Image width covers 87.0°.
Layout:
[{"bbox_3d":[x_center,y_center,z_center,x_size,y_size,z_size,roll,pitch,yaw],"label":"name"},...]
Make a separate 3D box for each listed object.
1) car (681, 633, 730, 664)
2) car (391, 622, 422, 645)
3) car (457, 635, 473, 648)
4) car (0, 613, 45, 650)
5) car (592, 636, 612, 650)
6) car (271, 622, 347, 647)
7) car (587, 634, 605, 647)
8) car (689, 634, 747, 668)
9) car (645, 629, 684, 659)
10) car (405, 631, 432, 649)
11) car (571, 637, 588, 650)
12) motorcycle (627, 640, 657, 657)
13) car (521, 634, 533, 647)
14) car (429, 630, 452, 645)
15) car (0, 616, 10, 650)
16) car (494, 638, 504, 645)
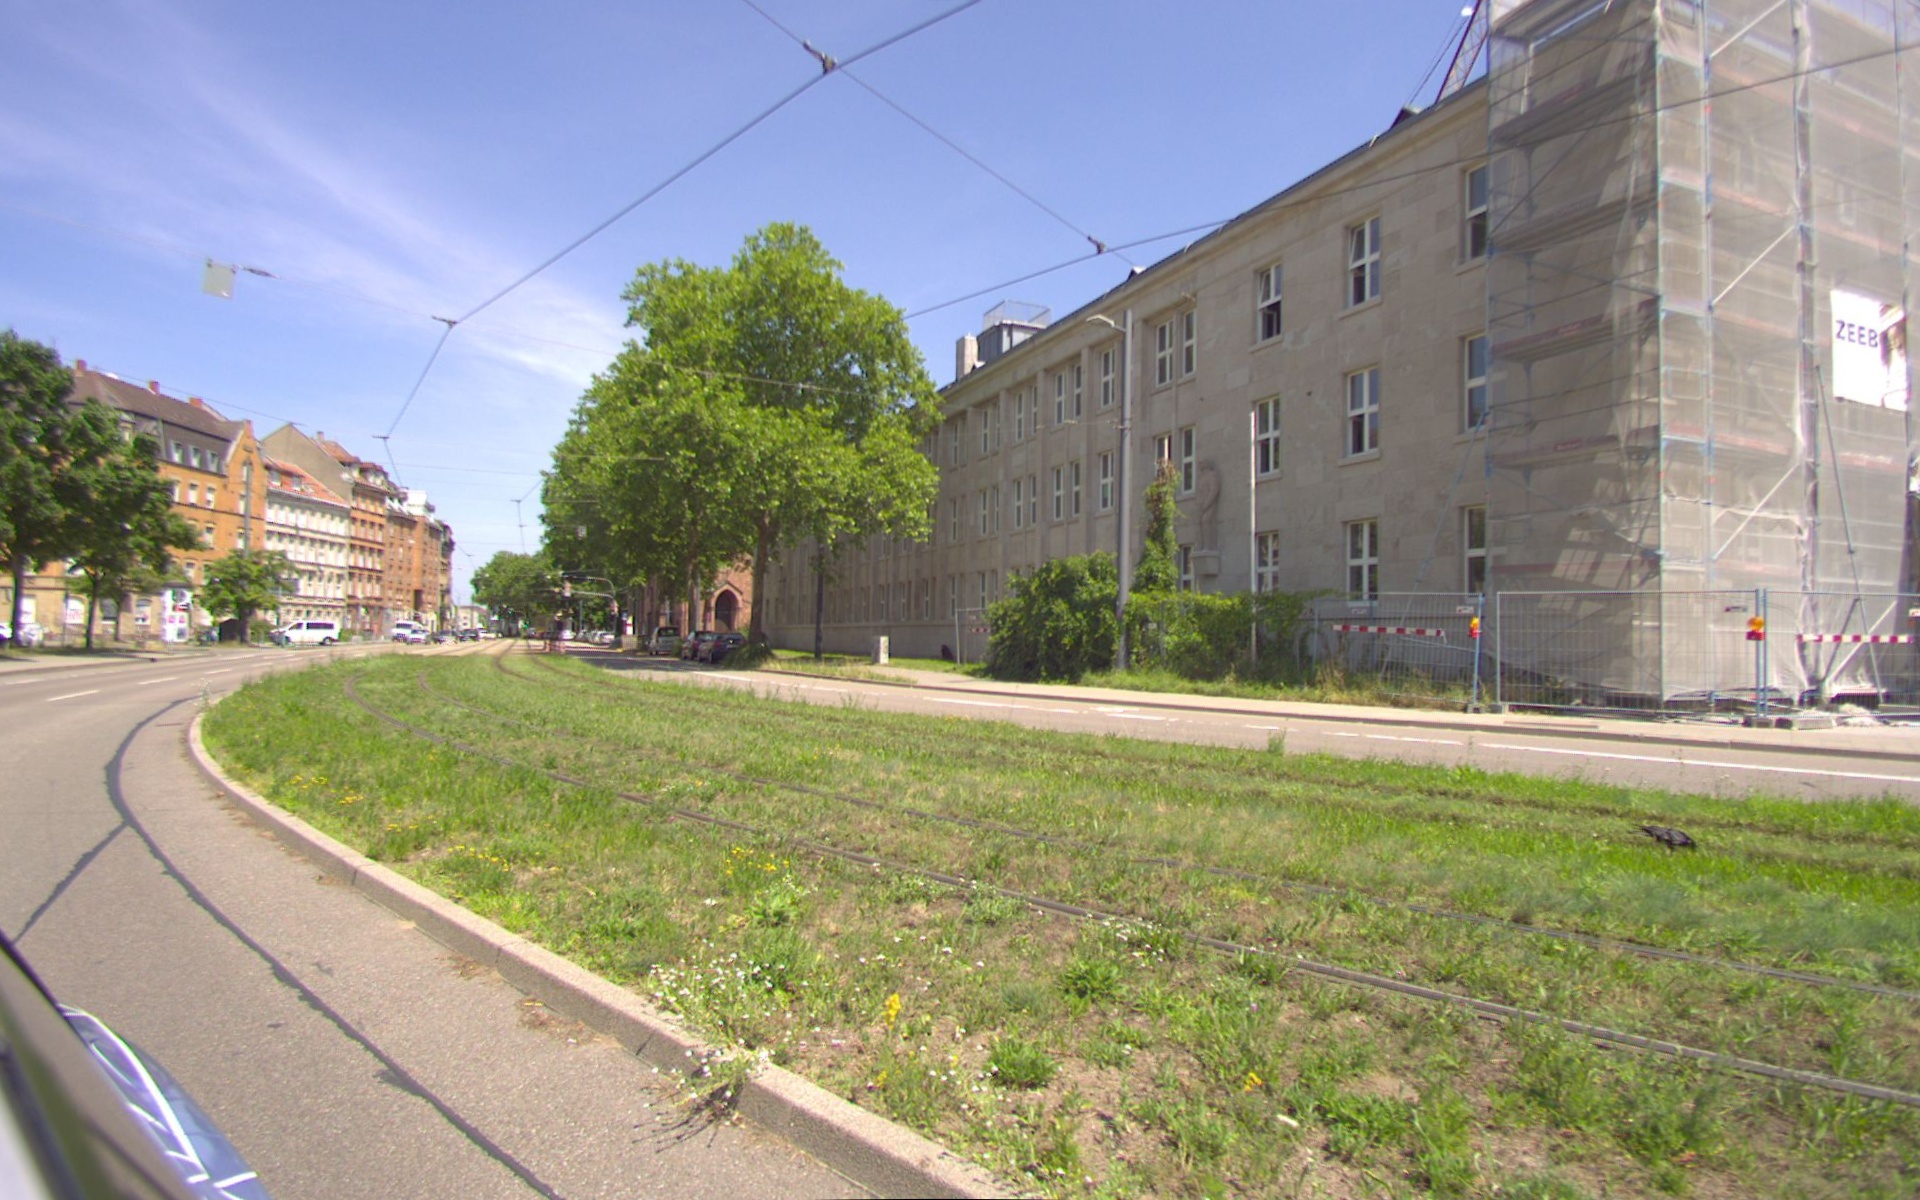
[{"bbox_3d":[-12.920,2.422,51.161,1.738,1.494,4.337,1,-2,-23],"label":"car"},{"bbox_3d":[-61.544,3.755,112.612,1.966,2.348,5.424,4,-3,-19],"label":"car"},{"bbox_3d":[-62.130,5.249,127.108,1.770,1.586,4.013,1,-2,-25],"label":"car"},{"bbox_3d":[-43.632,1.389,44.904,2.001,1.644,4.348,-2,-3,44],"label":"car"},{"bbox_3d":[-38.365,4.617,108.403,1.635,1.470,4.234,1,-2,-24],"label":"car"},{"bbox_3d":[-52.545,2.754,81.742,2.167,1.953,4.786,-2,-3,42],"label":"car"},{"bbox_3d":[-42.179,4.697,117.232,1.635,1.470,4.072,1,-2,-25],"label":"car"},{"bbox_3d":[-11.024,2.277,45.950,1.565,1.434,4.337,1,-2,-27],"label":"car"},{"bbox_3d":[-18.773,2.757,64.230,1.965,1.825,4.314,0,-2,-22],"label":"car"},{"bbox_3d":[-49.973,3.669,93.500,1.770,1.586,4.013,1,-2,-22],"label":"car"},{"bbox_3d":[-53.969,6.130,143.592,1.965,1.731,4.013,1,-2,-24],"label":"car"},{"bbox_3d":[-21.450,3.276,68.209,0.726,1.076,1.850,-2,-1,35],"label":"motorcycle"},{"bbox_3d":[-80.765,7.566,188.808,1.791,2.314,3.774,1,-2,-26],"label":"car"},{"bbox_3d":[-54.044,3.910,105.296,1.770,1.586,4.013,1,-2,-22],"label":"car"},{"bbox_3d":[-42.252,1.373,42.082,3.941,1.410,1.825,2,-3,-45],"label":"car"},{"bbox_3d":[-92.332,8.243,202.556,1.721,1.405,4.361,-1,-1,-27],"label":"car"}]
